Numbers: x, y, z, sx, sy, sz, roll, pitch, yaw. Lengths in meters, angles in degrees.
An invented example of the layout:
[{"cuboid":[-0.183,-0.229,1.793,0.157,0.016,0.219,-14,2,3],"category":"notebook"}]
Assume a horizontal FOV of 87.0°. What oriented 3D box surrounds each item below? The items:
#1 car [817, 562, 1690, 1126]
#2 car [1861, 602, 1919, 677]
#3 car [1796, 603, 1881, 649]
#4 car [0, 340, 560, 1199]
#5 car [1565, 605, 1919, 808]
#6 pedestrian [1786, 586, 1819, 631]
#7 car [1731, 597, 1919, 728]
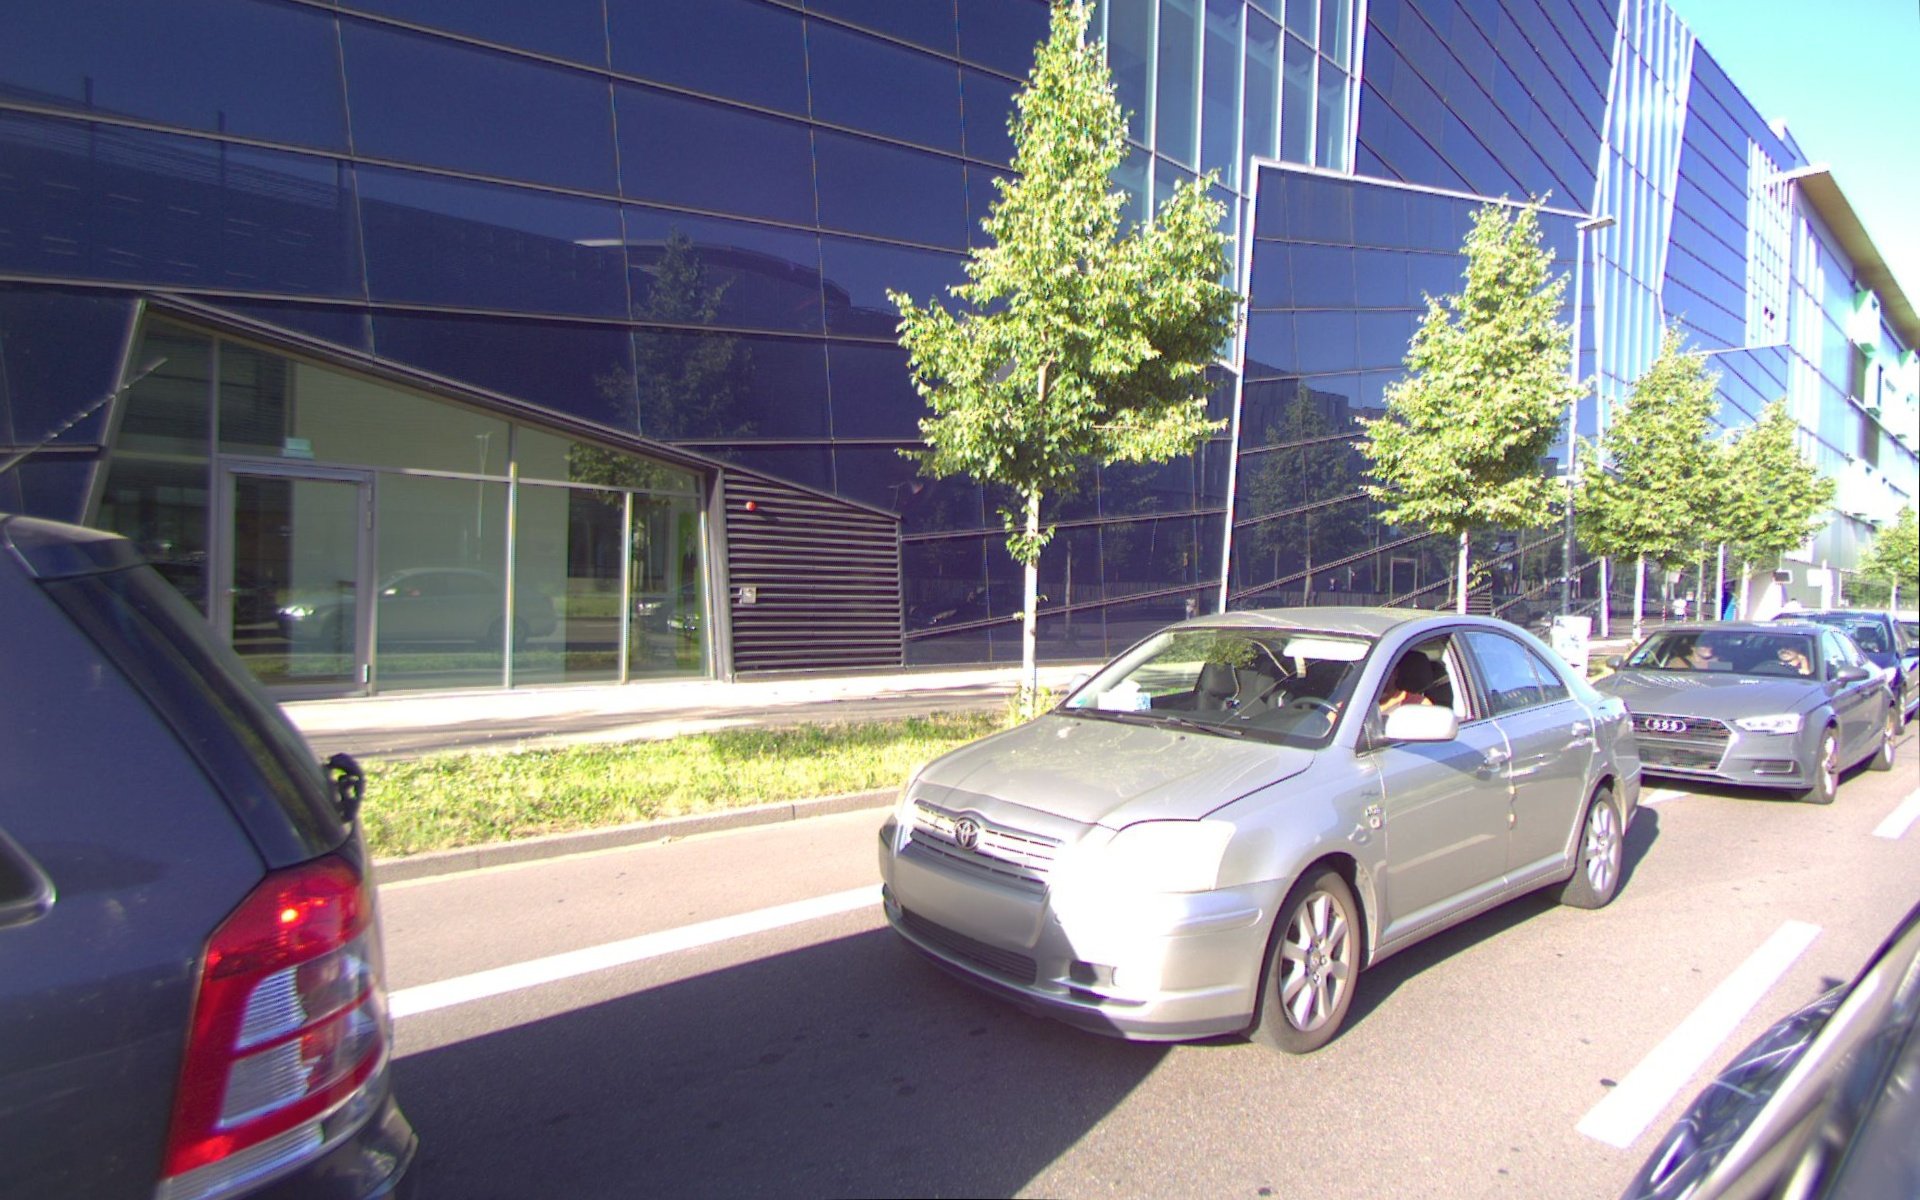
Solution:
[{"cuboid":[1.733,0.622,4.826,4.546,1.500,1.750,0,2,-40],"category":"car"},{"cuboid":[20.580,0.809,21.510,3.358,1.497,1.752,1,0,-41],"category":"car"},{"cuboid":[33.094,0.933,38.079,4.633,1.516,1.739,1,3,-41],"category":"car"},{"cuboid":[-2.654,0.620,0.589,4.186,1.717,1.749,0,0,-41],"category":"car"},{"cuboid":[7.324,0.768,9.254,4.187,1.409,1.750,0,1,-39],"category":"car"},{"cuboid":[36.771,0.368,44.159,0.889,1.846,0.829,1,4,-41],"category":"pedestrian"},{"cuboid":[11.920,0.729,13.604,3.902,1.497,1.752,1,0,-41],"category":"car"}]
